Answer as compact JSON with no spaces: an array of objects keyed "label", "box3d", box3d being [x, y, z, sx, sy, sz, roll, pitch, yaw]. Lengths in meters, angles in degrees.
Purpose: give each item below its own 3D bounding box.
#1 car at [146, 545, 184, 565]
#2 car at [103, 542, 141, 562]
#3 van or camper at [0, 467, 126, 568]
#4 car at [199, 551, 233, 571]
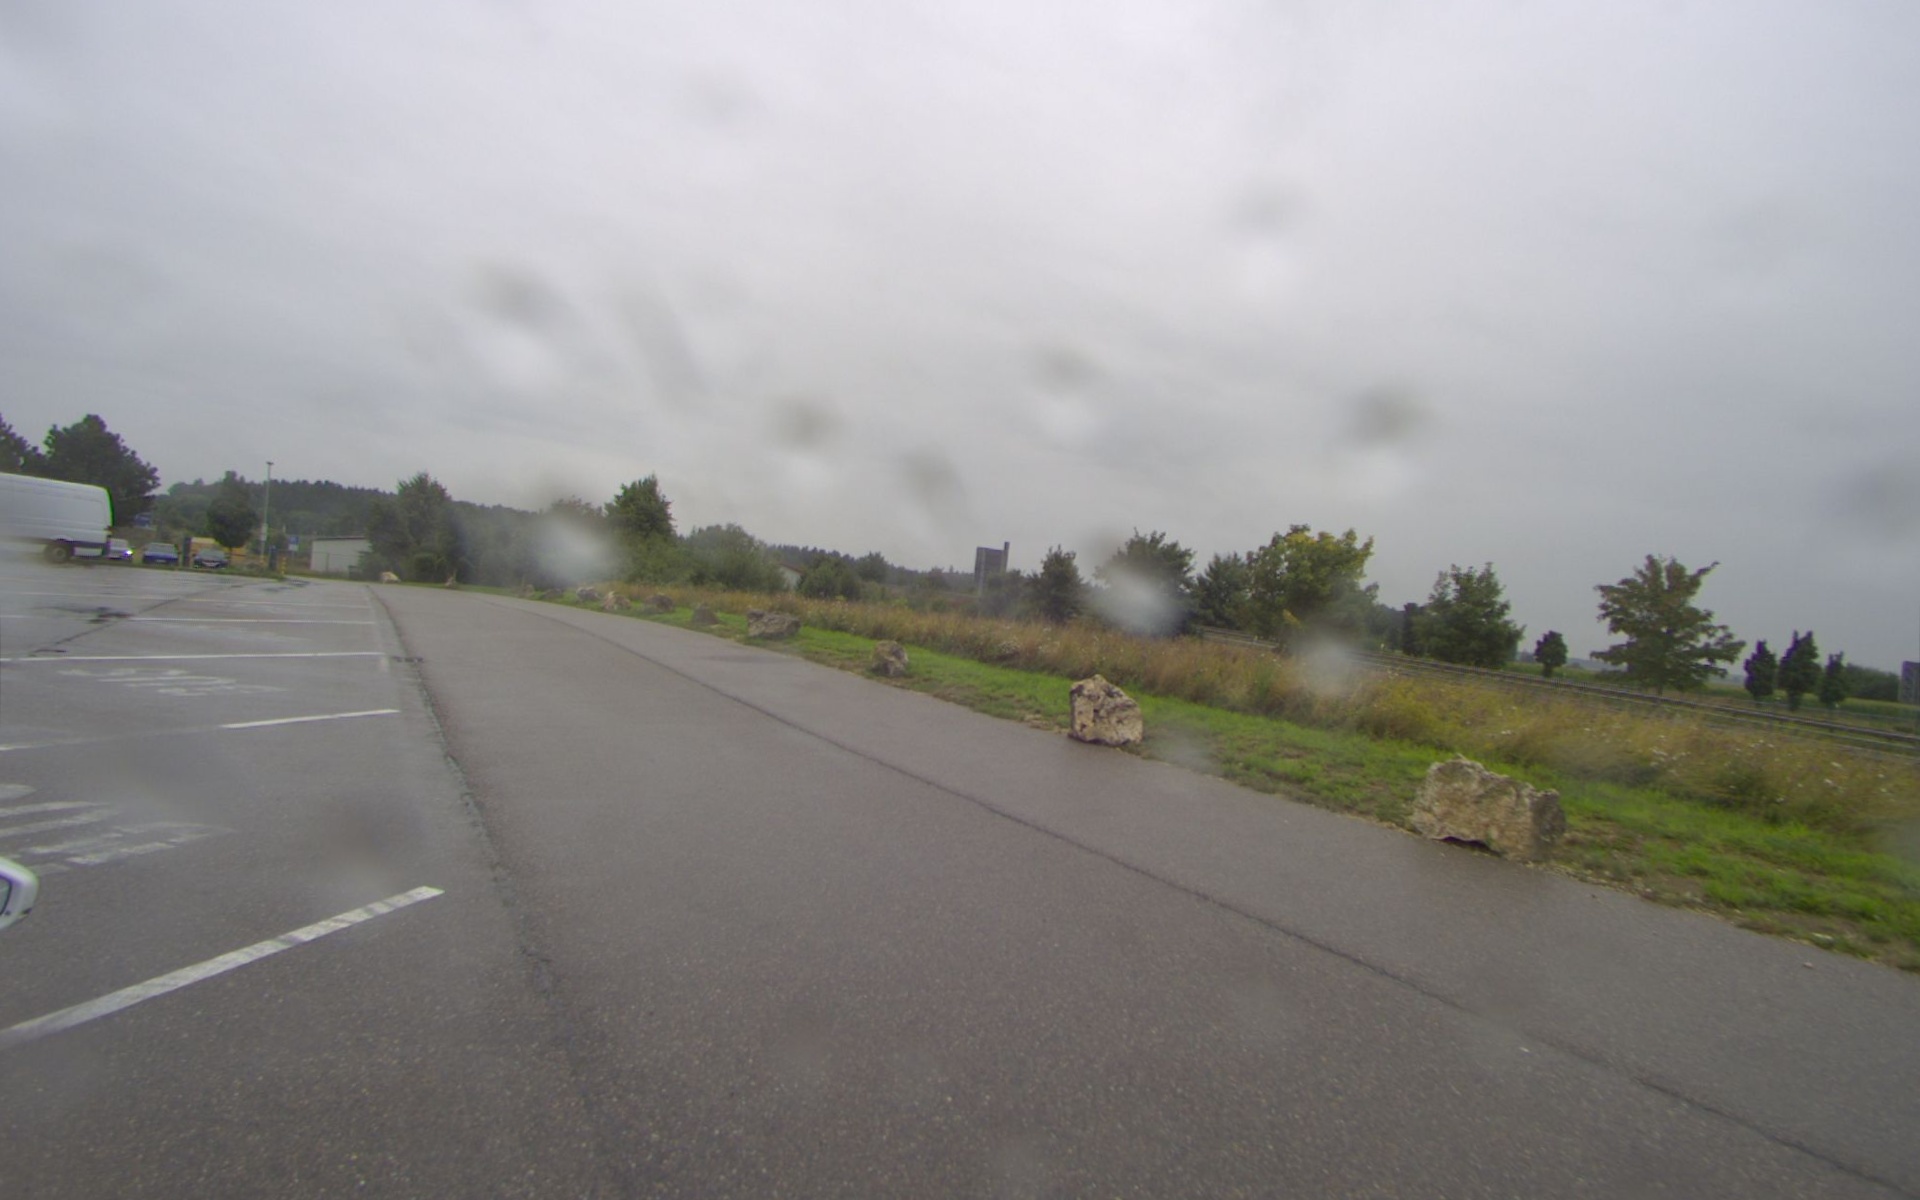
[{"label":"car","box3d":[-52.288,-2.949,66.232,1.694,1.013,3.731,7,0,-36]},{"label":"car","box3d":[-53.130,-3.054,63.800,1.486,1.013,3.535,7,0,-36]},{"label":"van or camper","box3d":[-29.613,-2.699,30.168,1.962,2.748,7.071,8,0,14]},{"label":"car","box3d":[-50.067,-2.658,67.758,1.694,1.013,3.731,7,0,-36]}]
